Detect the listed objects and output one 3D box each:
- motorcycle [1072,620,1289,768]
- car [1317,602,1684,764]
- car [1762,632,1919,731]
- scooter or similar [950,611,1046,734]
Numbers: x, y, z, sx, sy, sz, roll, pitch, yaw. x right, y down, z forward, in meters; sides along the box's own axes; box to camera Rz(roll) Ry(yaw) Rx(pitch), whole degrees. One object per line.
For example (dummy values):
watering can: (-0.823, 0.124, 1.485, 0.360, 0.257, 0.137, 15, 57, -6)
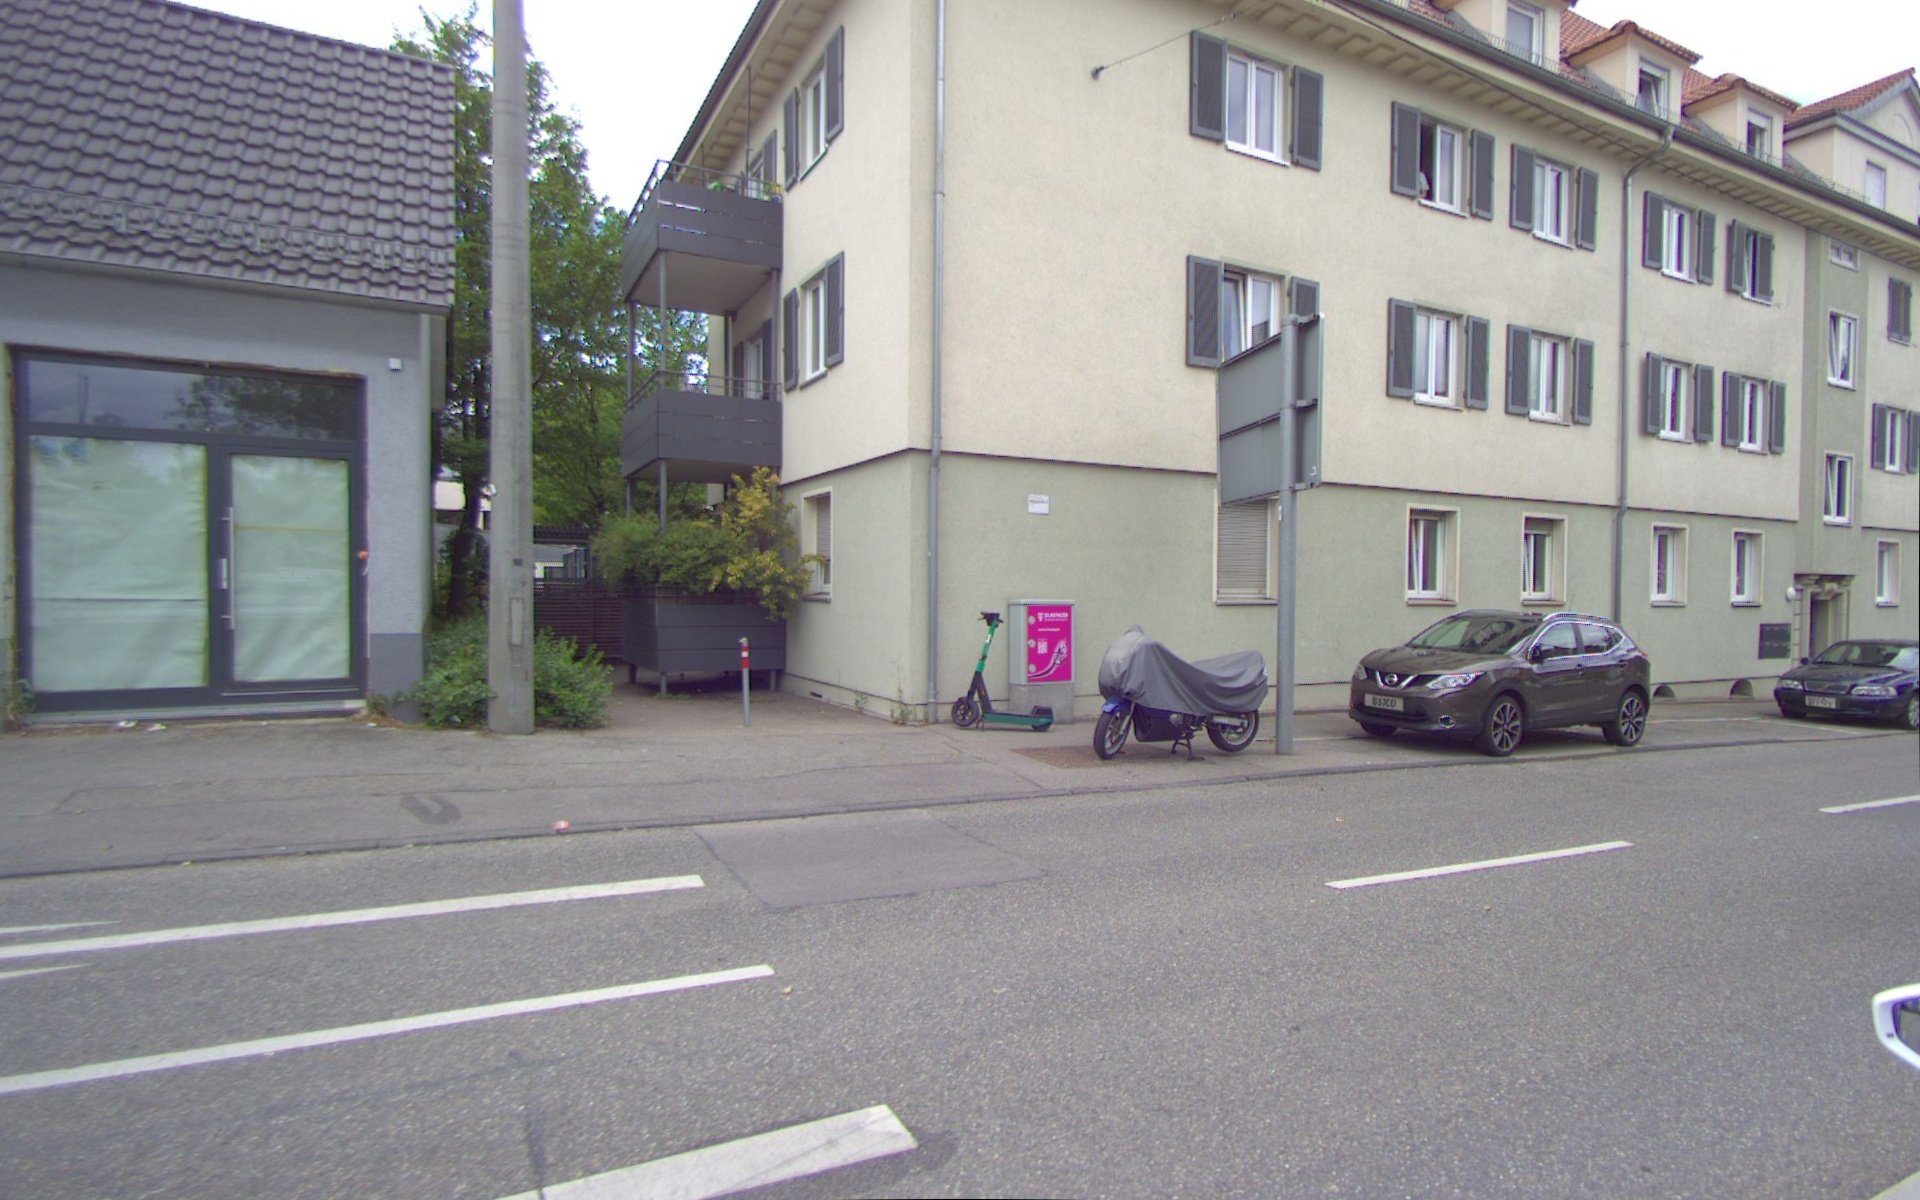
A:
motorcycle: (2.199, 0.881, 9.892, 2.203, 1.308, 0.622, 1, 2, -30)
car: (6.787, 0.926, 12.484, 4.640, 1.655, 1.813, 1, 1, -30)
car: (16.092, 1.336, 17.395, 4.786, 1.422, 1.703, 2, 1, -29)
scooter or similar: (0.414, 0.791, 11.037, 0.967, 1.282, 0.357, 3, 1, -4)
